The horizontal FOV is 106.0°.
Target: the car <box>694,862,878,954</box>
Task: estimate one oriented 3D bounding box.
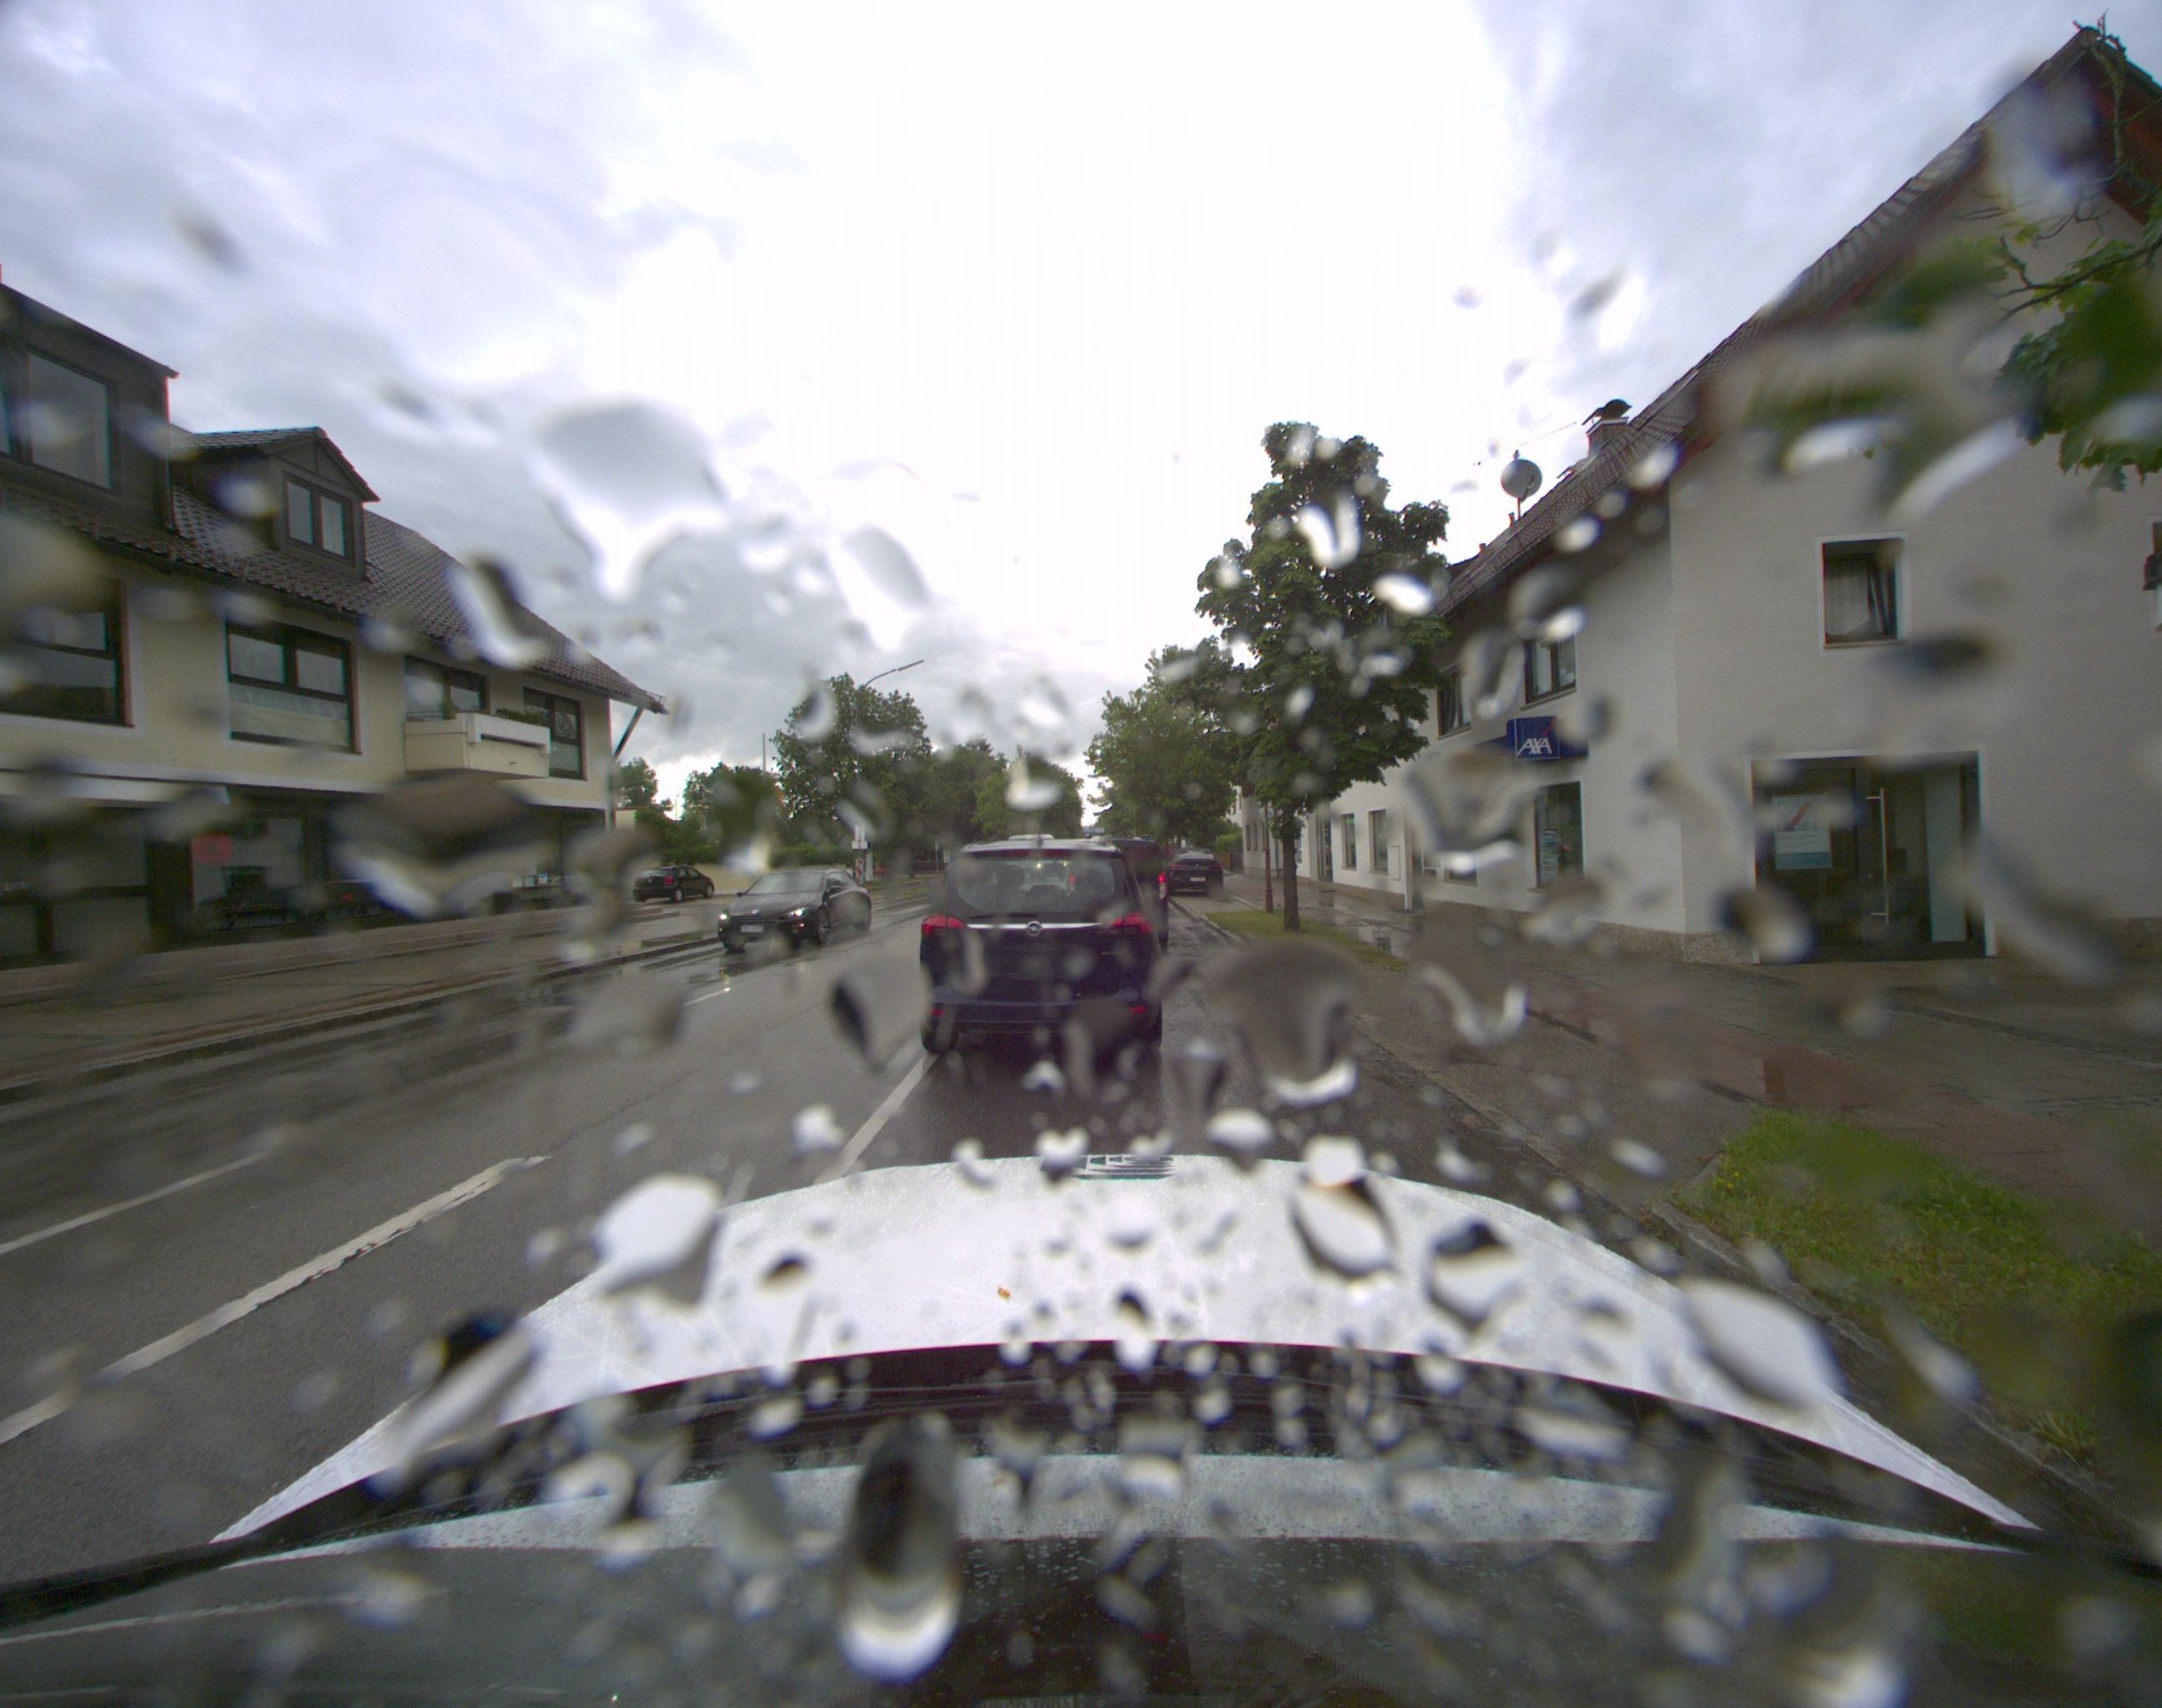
[{"bbox_3d":[-5.509,0.944,15.811,1.989,1.407,3.885,-3,0,2],"label":"car"}]

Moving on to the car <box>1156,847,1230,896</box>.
[{"bbox_3d":[3.833,0.562,28.474,2.110,1.581,3.936,0,0,1],"label":"car"}]

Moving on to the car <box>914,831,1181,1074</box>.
[{"bbox_3d":[-0.159,0.659,7.272,1.762,1.604,3.665,-1,0,2],"label":"car"}]

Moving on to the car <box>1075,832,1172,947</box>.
[{"bbox_3d":[0.722,0.553,14.318,1.494,1.776,3.113,-1,0,2],"label":"car"}]

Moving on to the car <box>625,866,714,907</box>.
[{"bbox_3d":[-16.229,1.248,32.306,1.601,1.380,3.510,-3,0,2],"label":"car"}]

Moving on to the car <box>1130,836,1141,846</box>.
[{"bbox_3d":[8.444,-2.014,126.623,1.624,1.378,3.624,-3,0,2],"label":"car"}]

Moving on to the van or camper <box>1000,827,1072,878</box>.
[{"bbox_3d":[-2.723,-0.045,47.509,2.104,2.707,6.219,-2,0,-23],"label":"van or camper"}]

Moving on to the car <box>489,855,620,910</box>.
[{"bbox_3d":[-20.786,1.061,32.460,1.957,1.919,4.738,-3,0,1],"label":"car"}]

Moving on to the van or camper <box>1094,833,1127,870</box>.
[{"bbox_3d":[2.266,-0.226,63.281,2.351,2.665,5.374,-2,0,2],"label":"van or camper"}]

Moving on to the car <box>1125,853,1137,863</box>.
[{"bbox_3d":[7.225,0.577,117.081,1.624,1.378,3.624,-1,-1,2],"label":"car"}]
